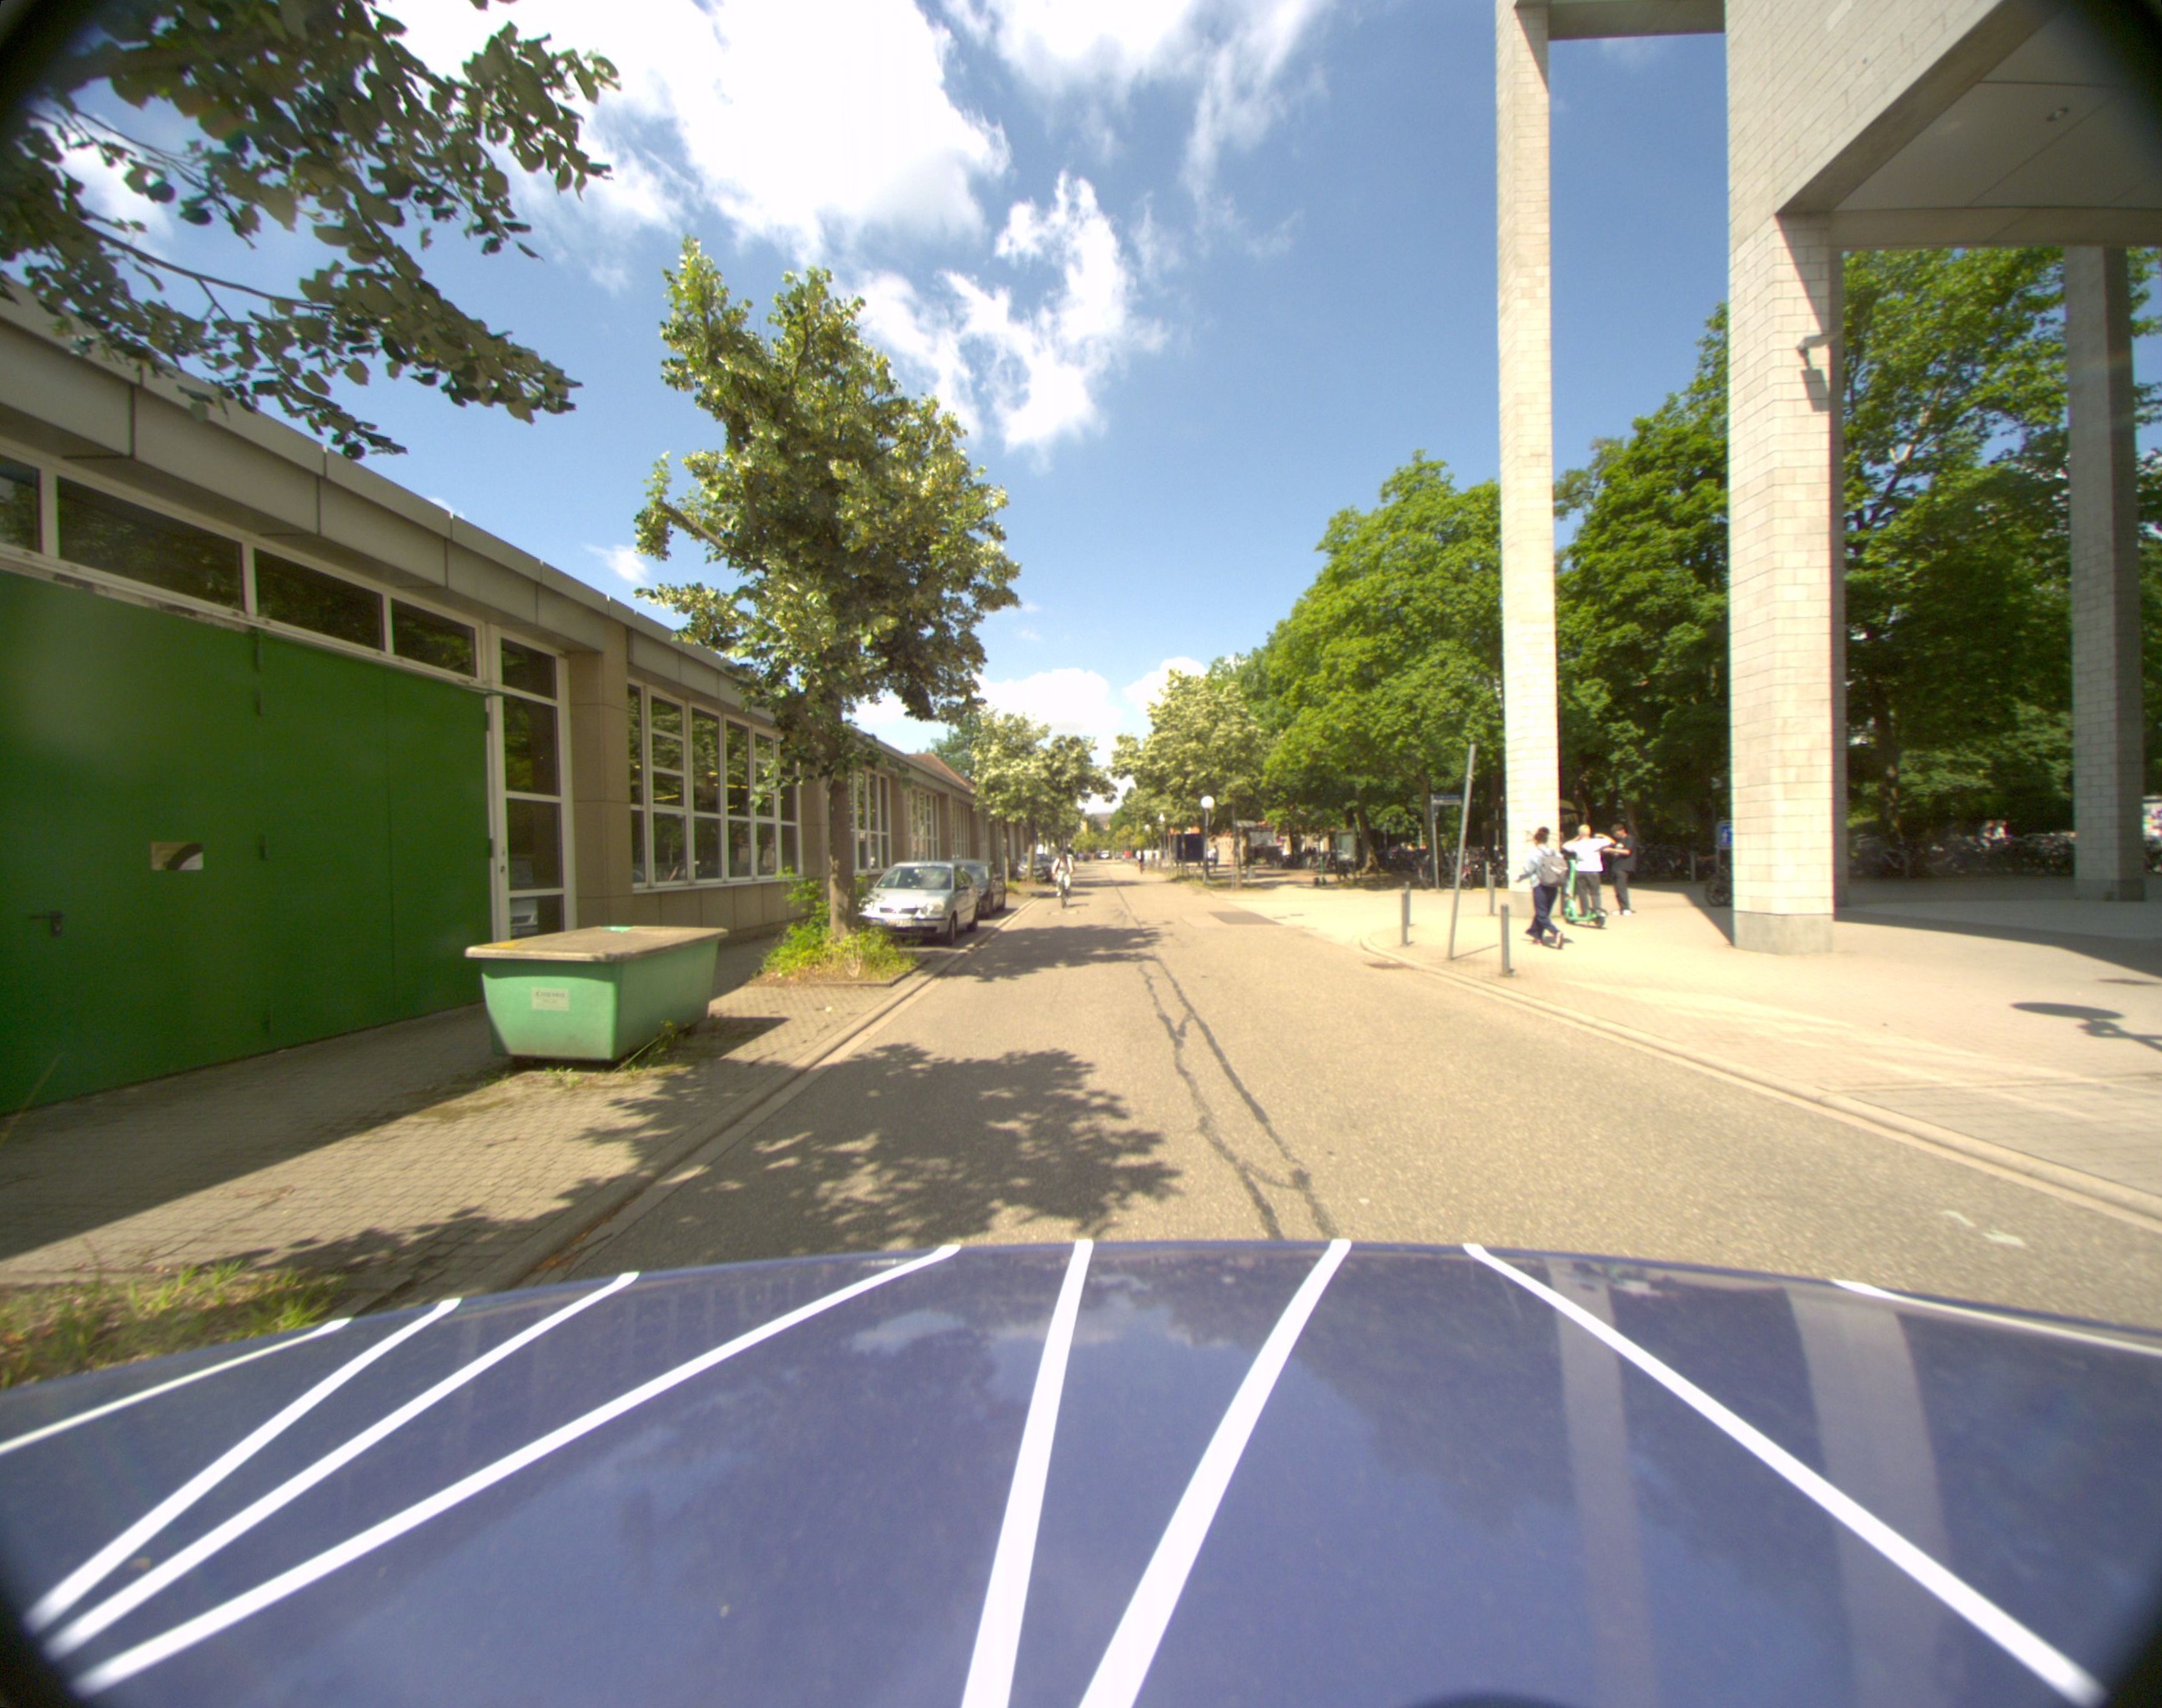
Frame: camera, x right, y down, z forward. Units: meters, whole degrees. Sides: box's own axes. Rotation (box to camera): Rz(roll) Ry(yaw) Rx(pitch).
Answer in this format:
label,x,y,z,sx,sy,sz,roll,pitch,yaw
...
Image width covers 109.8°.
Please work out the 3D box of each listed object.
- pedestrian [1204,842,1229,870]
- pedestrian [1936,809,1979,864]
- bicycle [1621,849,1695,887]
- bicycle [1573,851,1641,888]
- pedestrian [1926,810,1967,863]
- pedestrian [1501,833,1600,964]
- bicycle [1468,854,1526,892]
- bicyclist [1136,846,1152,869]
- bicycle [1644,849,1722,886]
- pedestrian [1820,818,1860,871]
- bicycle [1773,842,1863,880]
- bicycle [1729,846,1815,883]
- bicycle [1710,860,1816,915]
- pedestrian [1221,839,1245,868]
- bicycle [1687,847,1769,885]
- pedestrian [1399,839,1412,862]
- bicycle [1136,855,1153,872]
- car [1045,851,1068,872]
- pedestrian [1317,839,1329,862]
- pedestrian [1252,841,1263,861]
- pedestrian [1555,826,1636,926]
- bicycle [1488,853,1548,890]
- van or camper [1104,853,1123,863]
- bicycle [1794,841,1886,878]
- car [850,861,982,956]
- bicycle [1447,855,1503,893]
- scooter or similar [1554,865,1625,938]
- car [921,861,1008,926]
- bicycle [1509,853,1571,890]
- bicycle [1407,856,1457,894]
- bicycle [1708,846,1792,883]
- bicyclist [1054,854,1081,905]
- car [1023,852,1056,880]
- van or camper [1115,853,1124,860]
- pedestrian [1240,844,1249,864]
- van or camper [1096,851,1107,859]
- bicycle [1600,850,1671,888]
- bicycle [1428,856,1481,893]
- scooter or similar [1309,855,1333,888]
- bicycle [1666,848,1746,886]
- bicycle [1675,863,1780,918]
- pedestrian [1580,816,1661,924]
label,x,y,z,sx,sy,sz,roll,pitch,yaw
pedestrian,9.104,0.156,51.233,1.400,1.814,1.369,-2,1,1
pedestrian,39.170,-0.773,33.960,1.004,2.405,1.003,-2,1,-24
bicycle,17.466,0.404,23.057,0.622,1.052,2.124,-2,1,1
bicycle,16.091,0.448,23.321,0.622,1.052,2.124,-2,1,1
pedestrian,40.228,-0.823,35.331,1.004,2.405,1.003,-2,1,-24
pedestrian,6.636,0.590,10.807,0.760,1.715,1.236,-4,1,13
bicycle,12.729,0.562,23.326,0.622,1.052,2.124,-2,1,1
bicyclist,4.666,0.248,56.105,1.053,1.690,1.282,-2,1,2
bicycle,18.142,0.382,22.973,0.622,1.052,2.174,-2,1,1
pedestrian,35.377,-0.461,35.417,1.004,2.405,1.003,-2,1,-24
bicycle,22.153,0.190,22.912,0.622,1.052,2.174,-2,1,1
bicycle,20.796,0.293,22.926,0.622,1.052,2.174,-2,1,1
bicycle,13.806,0.647,15.453,0.517,0.980,1.965,-2,1,5
pedestrian,10.745,-0.054,53.802,1.400,2.002,1.369,-2,1,1
bicycle,19.474,0.337,22.939,0.622,1.052,2.174,-2,1,1
pedestrian,22.046,-0.223,51.685,0.587,1.523,0.503,-2,1,-20
bicycle,4.674,0.689,56.054,1.011,1.169,3.394,-2,1,2
car,-1.856,0.545,58.610,1.649,1.484,3.815,0,1,1
pedestrian,17.456,-0.243,54.791,0.756,1.661,0.823,-2,1,15
pedestrian,16.940,-0.292,73.023,0.677,1.882,0.816,-1,1,41
pedestrian,9.576,0.392,14.188,0.755,1.770,1.081,-2,1,1
bicycle,13.383,0.506,23.318,0.622,1.052,2.124,-2,1,1
van or camper,8.221,0.954,190.004,4.391,2.348,1.995,-1,1,-35
bicycle,22.824,0.150,22.907,0.622,1.052,2.174,-2,1,1
car,-2.975,0.918,14.476,1.622,1.503,3.817,1,0,1
bicycle,12.071,0.584,23.330,0.622,1.052,2.124,-2,1,1
scooter or similar,8.520,0.765,12.776,0.317,1.138,1.313,-2,1,1
car,-2.934,0.947,19.822,1.622,1.455,3.817,1,0,1
bicycle,14.035,0.518,23.298,0.622,1.052,2.124,-2,1,1
bicycle,10.776,0.616,23.379,0.508,1.100,2.001,-2,0,-3
bicycle,20.129,0.301,22.933,0.622,1.052,2.174,-2,1,1
bicyclist,-0.407,0.754,22.835,0.781,1.478,0.695,-1,1,-1
car,-2.336,0.659,43.226,1.649,1.484,3.815,0,1,1
van or camper,10.979,0.692,214.183,1.852,2.093,4.307,-2,1,11
pedestrian,13.954,-0.024,64.930,0.678,1.661,0.815,-2,1,7
van or camper,5.939,0.280,222.536,2.092,1.963,4.263,-2,1,15
bicycle,16.760,0.428,23.044,0.622,1.052,2.124,-2,1,1
bicycle,11.436,0.606,23.330,0.592,1.052,2.124,-2,1,1
scooter or similar,9.091,0.647,28.732,0.713,1.184,1.617,-1,2,23
bicycle,18.808,0.360,22.934,0.622,1.052,2.174,-2,1,1
bicycle,13.152,0.713,15.543,0.596,0.980,1.965,-2,1,5
pedestrian,10.425,0.296,14.719,0.755,2.002,1.081,-2,1,1
